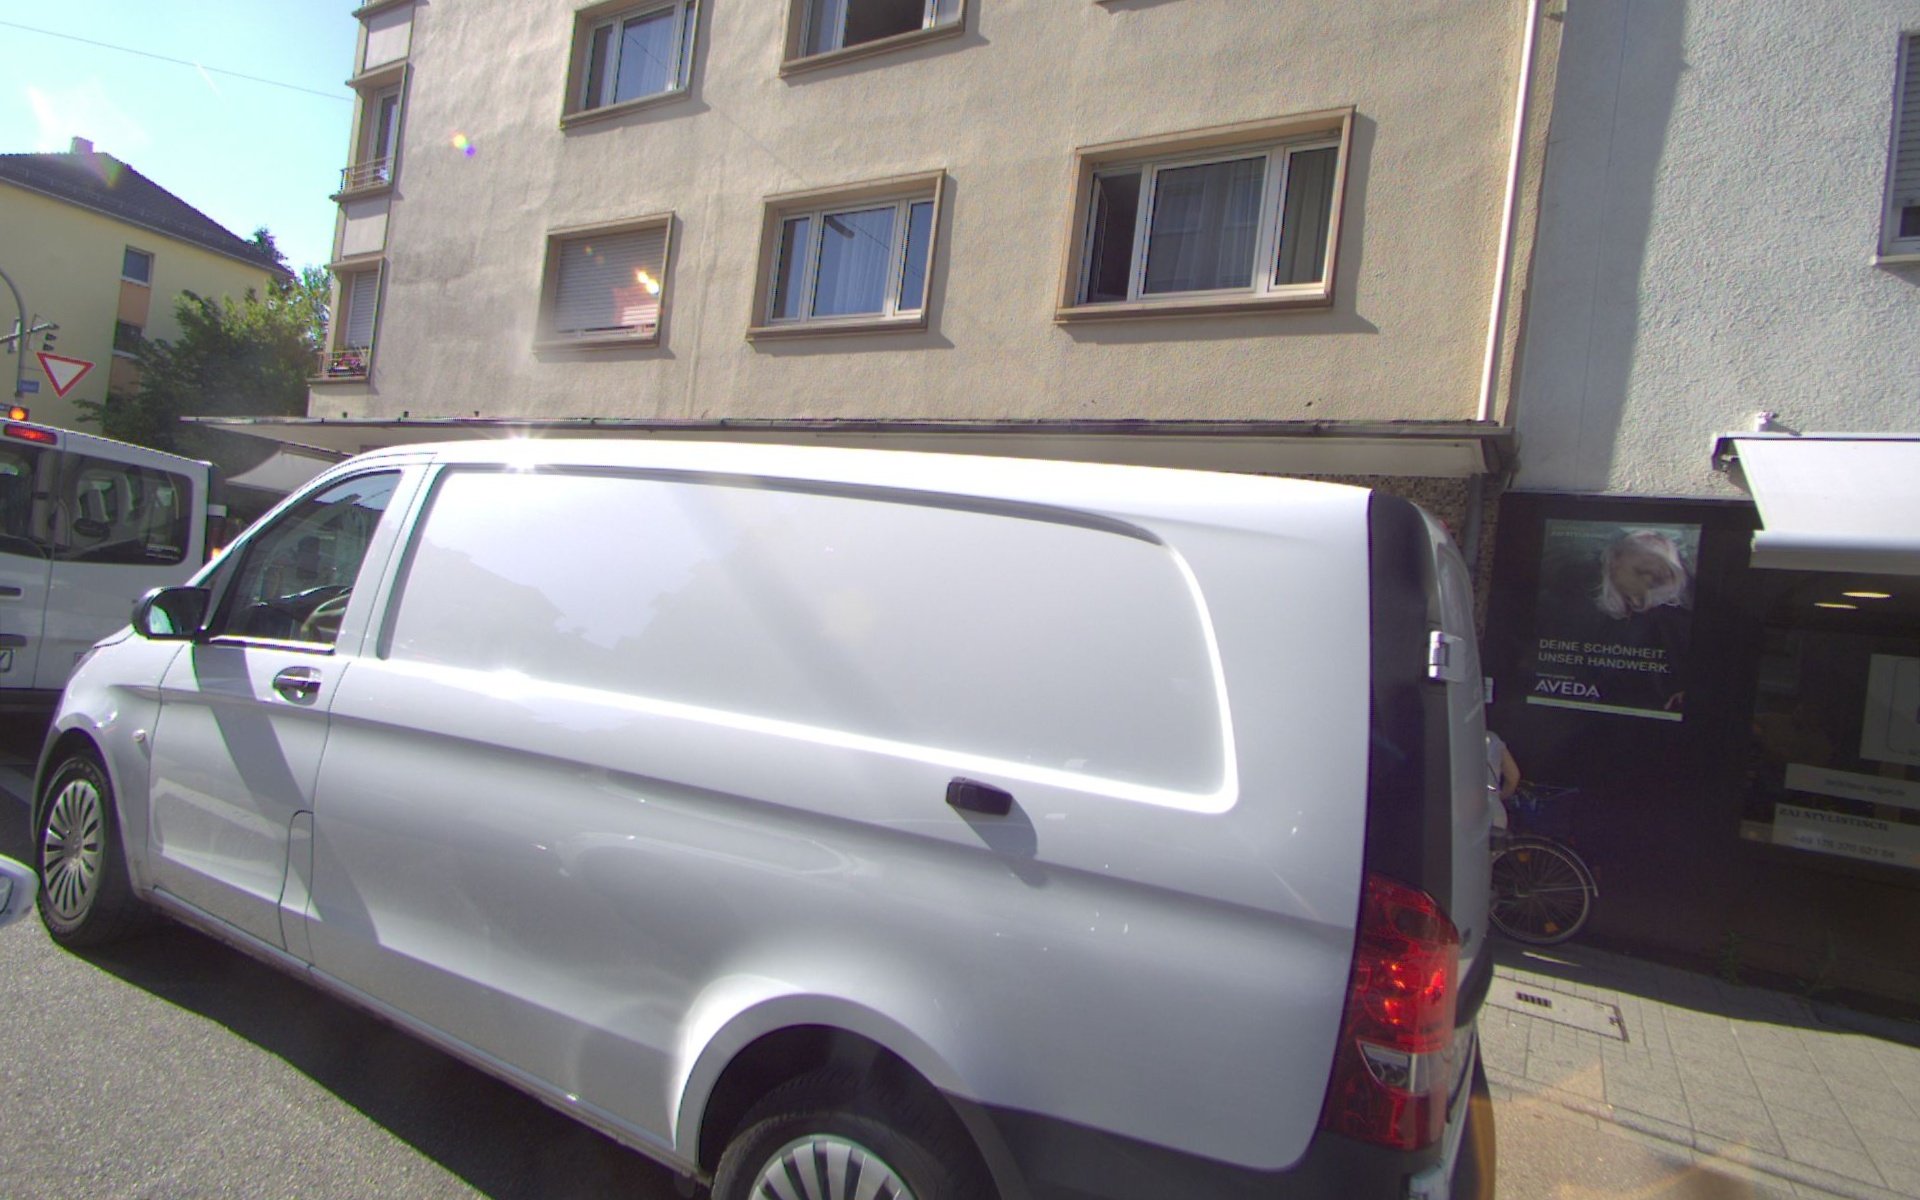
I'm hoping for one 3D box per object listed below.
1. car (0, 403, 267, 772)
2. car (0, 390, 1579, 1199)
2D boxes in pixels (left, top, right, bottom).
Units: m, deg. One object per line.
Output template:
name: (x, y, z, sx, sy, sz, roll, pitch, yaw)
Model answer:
car: (-7.150, -0.266, 6.936, 4.814, 2.002, 1.998, 7, -2, 32)
car: (-1.007, 0.498, 3.306, 4.911, 1.891, 1.840, 7, -1, 29)
